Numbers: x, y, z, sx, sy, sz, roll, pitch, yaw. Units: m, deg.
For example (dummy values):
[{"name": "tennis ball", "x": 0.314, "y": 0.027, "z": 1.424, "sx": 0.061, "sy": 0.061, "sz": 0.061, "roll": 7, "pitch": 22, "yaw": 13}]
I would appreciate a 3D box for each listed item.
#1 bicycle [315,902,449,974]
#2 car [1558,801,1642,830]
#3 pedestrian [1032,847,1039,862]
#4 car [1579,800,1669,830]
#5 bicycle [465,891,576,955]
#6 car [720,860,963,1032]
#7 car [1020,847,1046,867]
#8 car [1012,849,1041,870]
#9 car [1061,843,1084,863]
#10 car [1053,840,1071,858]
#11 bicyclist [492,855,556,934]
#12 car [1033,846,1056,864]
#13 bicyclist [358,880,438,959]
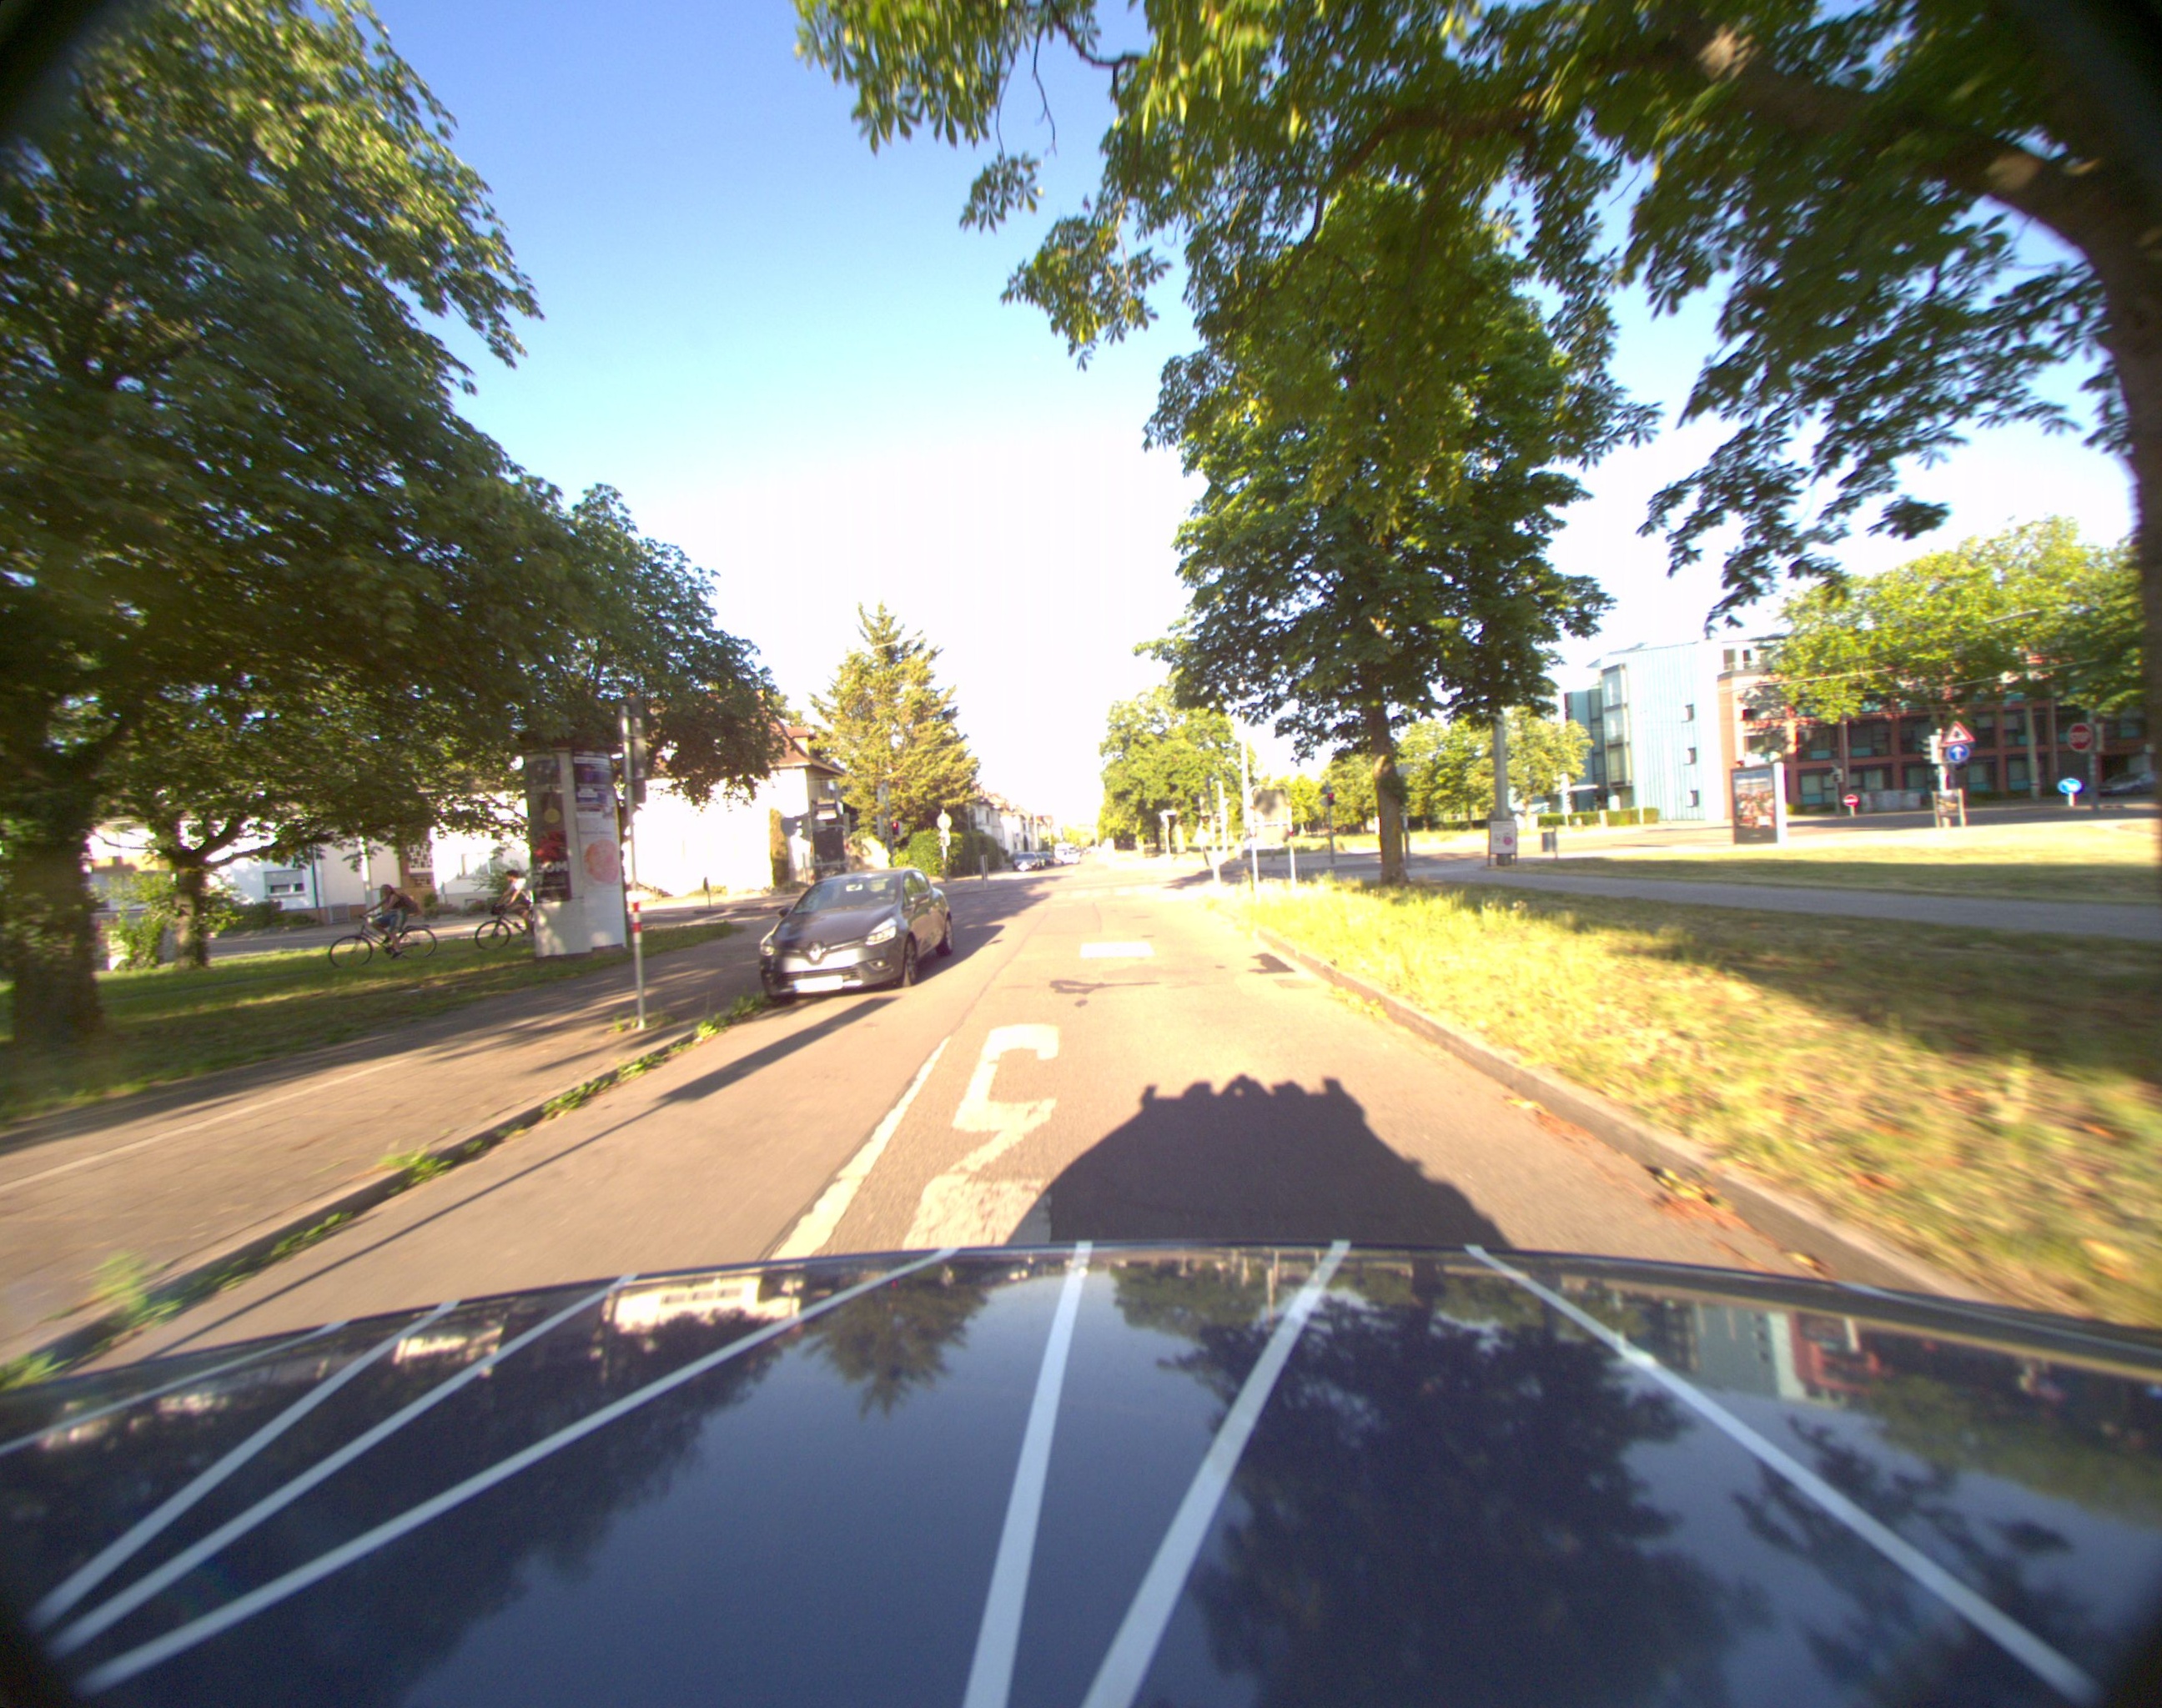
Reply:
[{"name": "bicycle", "x": -15.002, "y": 1.779, "z": 16.386, "sx": 0.491, "sy": 1.177, "sz": 1.965, "roll": -5, "pitch": 3, "yaw": 23}, {"name": "car", "x": 40.331, "y": -2.983, "z": 59.073, "sx": 5.221, "sy": 1.662, "sz": 1.966, "roll": -6, "pitch": 3, "yaw": -4}, {"name": "pedestrian", "x": -6.022, "y": 0.082, "z": 100.846, "sx": 0.587, "sy": 1.836, "sz": 0.823, "roll": -6, "pitch": 2, "yaw": 3}, {"name": "car", "x": 40.439, "y": -2.910, "z": 56.706, "sx": 5.220, "sy": 1.662, "sz": 1.999, "roll": -6, "pitch": 2, "yaw": -1}, {"name": "bicycle", "x": -13.242, "y": 1.609, "z": 18.002, "sx": 0.573, "sy": 1.177, "sz": 1.908, "roll": -5, "pitch": 3, "yaw": 43}, {"name": "car", "x": -2.917, "y": 1.009, "z": 10.427, "sx": 1.730, "sy": 1.502, "sz": 4.539, "roll": -6, "pitch": 2, "yaw": 0}, {"name": "car", "x": -4.190, "y": 0.235, "z": 66.631, "sx": 1.784, "sy": 1.469, "sz": 4.000, "roll": -7, "pitch": 1, "yaw": 1}, {"name": "car", "x": -4.345, "y": 0.402, "z": 60.898, "sx": 2.009, "sy": 1.490, "sz": 4.914, "roll": -2, "pitch": 1, "yaw": -1}, {"name": "car", "x": -0.881, "y": -0.105, "z": 76.982, "sx": 1.999, "sy": 1.775, "sz": 3.997, "roll": -6, "pitch": 2, "yaw": -3}, {"name": "car", "x": -2.891, "y": -0.800, "z": 116.400, "sx": 2.131, "sy": 2.462, "sz": 5.723, "roll": -7, "pitch": 2, "yaw": 1}, {"name": "bicyclist", "x": -13.252, "y": 0.959, "z": 18.076, "sx": 0.815, "sy": 1.722, "sz": 0.895, "roll": -4, "pitch": 3, "yaw": 42}, {"name": "car", "x": -3.645, "y": 0.111, "z": 75.986, "sx": 1.796, "sy": 1.587, "sz": 4.076, "roll": -7, "pitch": 0, "yaw": 1}, {"name": "bicyclist", "x": -14.945, "y": 1.422, "z": 16.646, "sx": 0.713, "sy": 1.554, "sz": 0.894, "roll": -6, "pitch": 3, "yaw": 21}]
